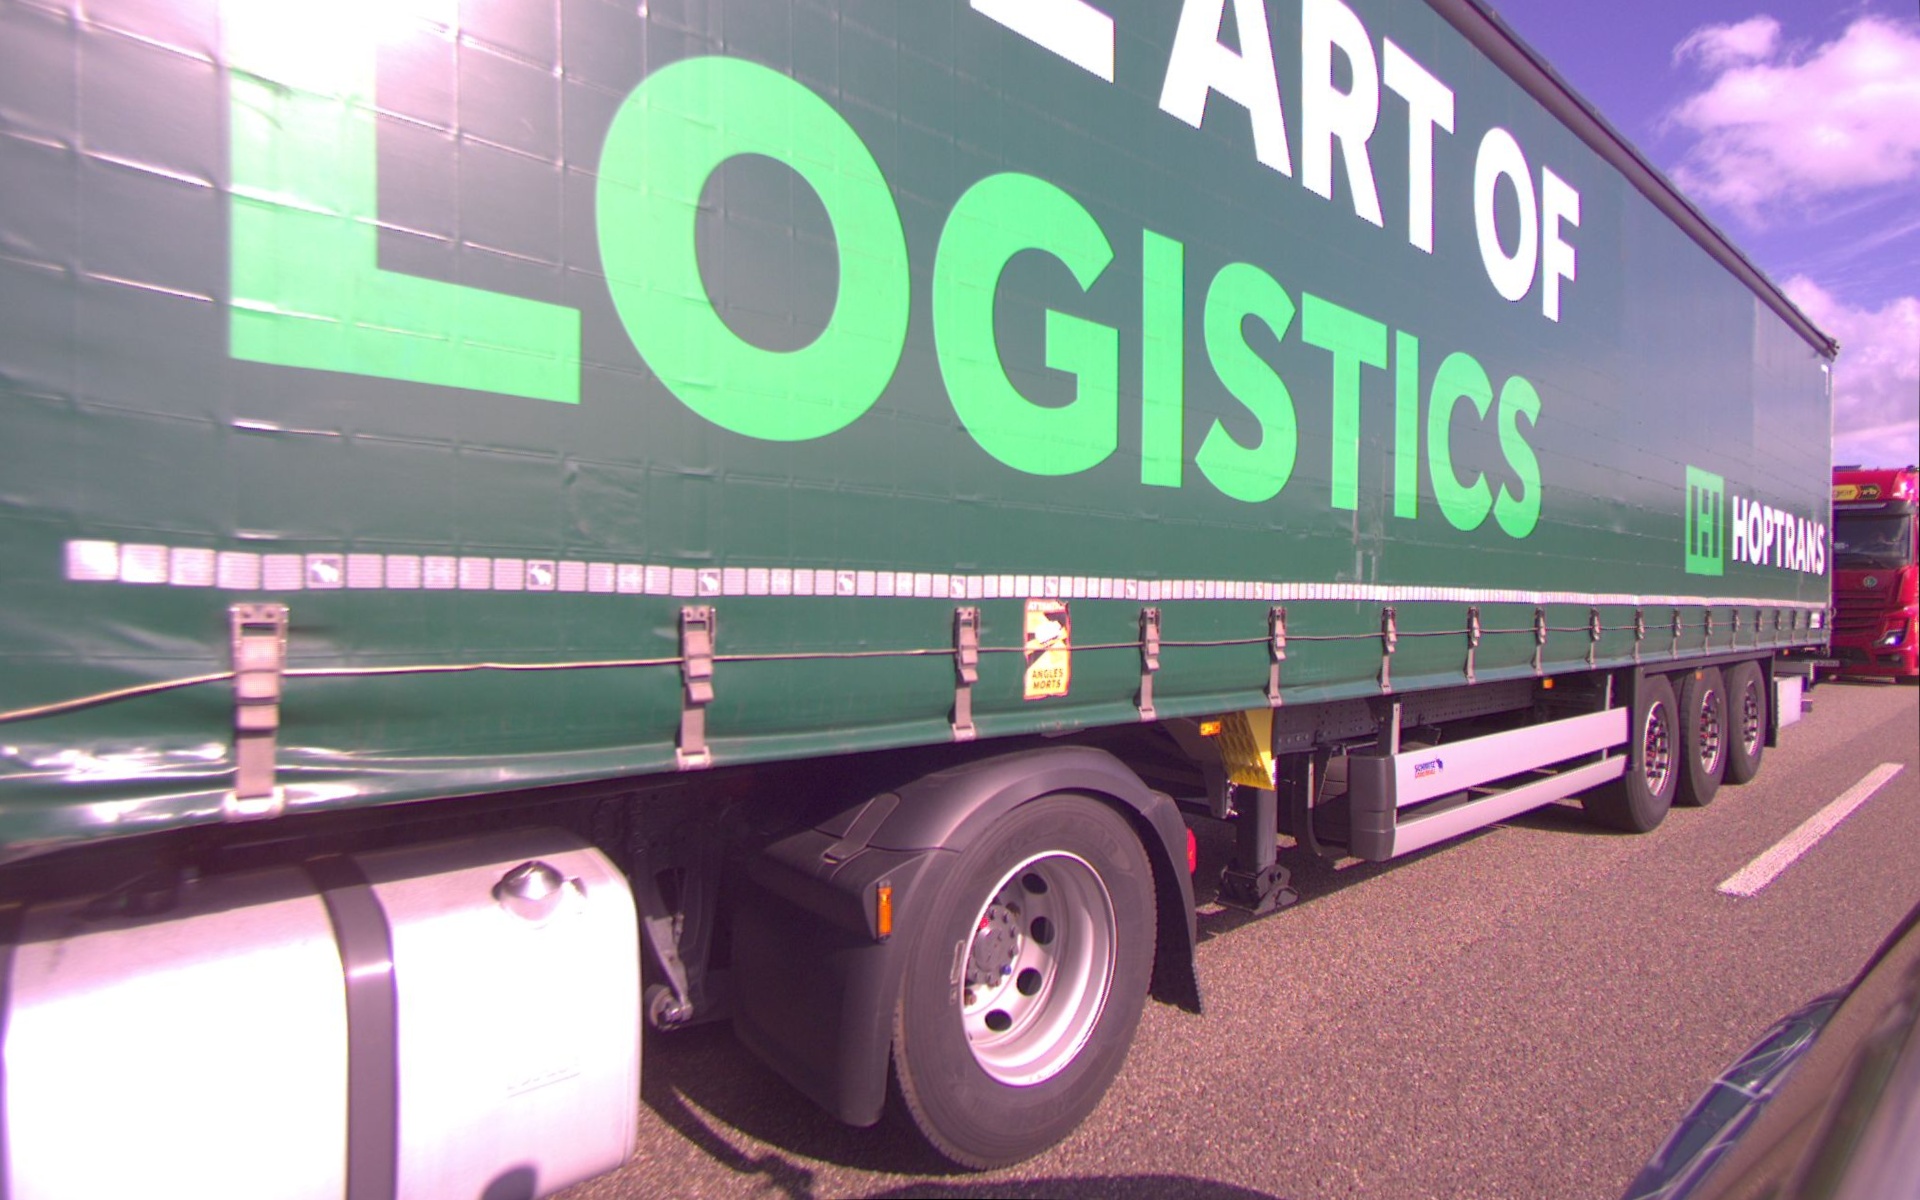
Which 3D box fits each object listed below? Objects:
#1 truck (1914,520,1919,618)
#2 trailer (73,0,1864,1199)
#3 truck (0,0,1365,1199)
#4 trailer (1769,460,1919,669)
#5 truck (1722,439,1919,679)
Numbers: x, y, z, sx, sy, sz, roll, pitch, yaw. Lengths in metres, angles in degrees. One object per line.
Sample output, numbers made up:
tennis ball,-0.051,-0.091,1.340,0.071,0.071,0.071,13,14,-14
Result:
truck,36.030,-0.662,35.316,10.023,4.090,2.745,-1,-2,-40
trailer,3.008,-0.606,6.594,13.160,3.917,2.666,-1,1,-41
truck,-2.100,-0.562,2.129,6.874,3.917,2.651,-1,1,-41
trailer,22.671,-0.734,24.156,12.839,3.989,2.797,-1,0,-40
truck,17.353,-0.709,19.677,5.722,3.989,2.807,-1,0,-40
